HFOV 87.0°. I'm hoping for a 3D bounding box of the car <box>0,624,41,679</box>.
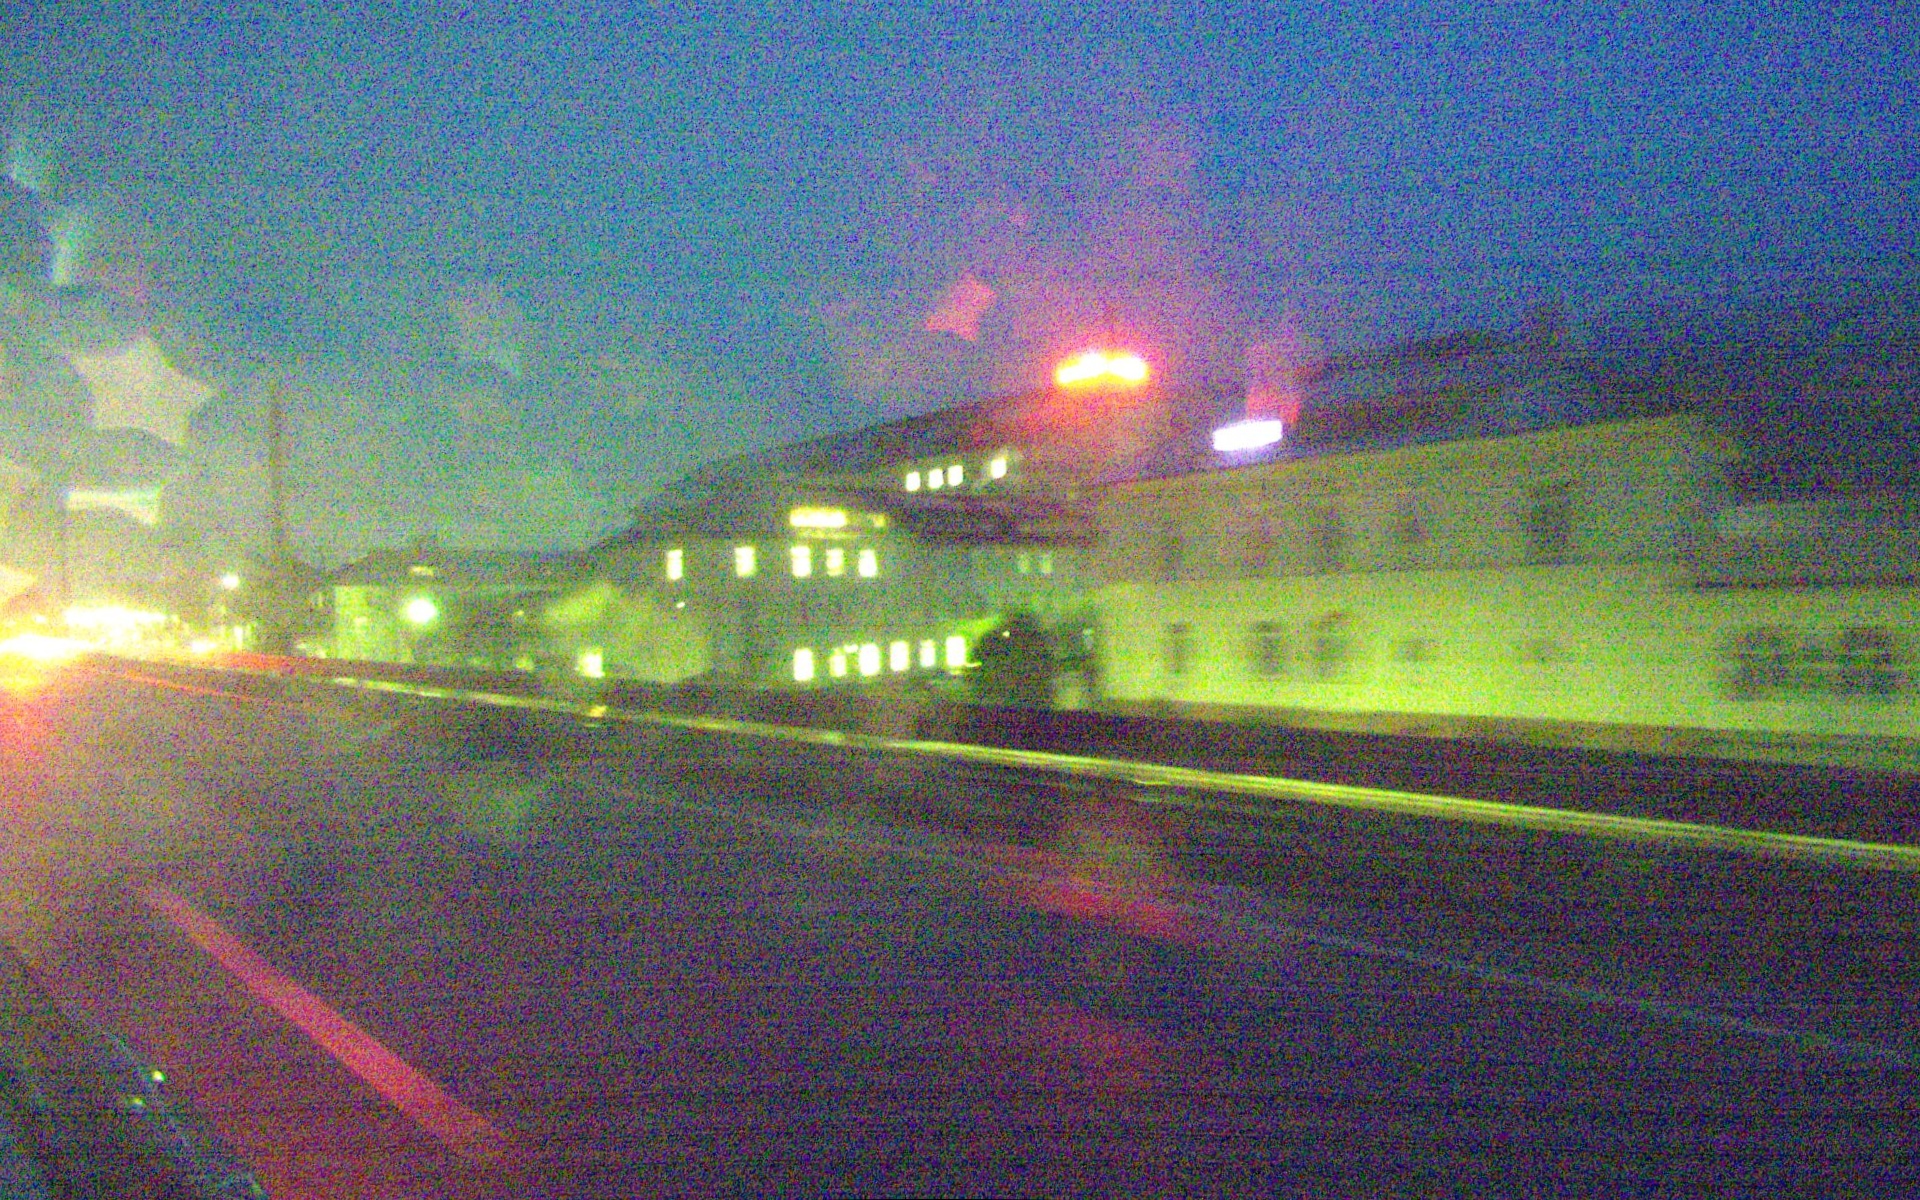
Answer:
[{"bbox_3d":[-27.073,1.408,28.109,4.391,1.459,1.849,-2,-1,42],"label":"car"}]
